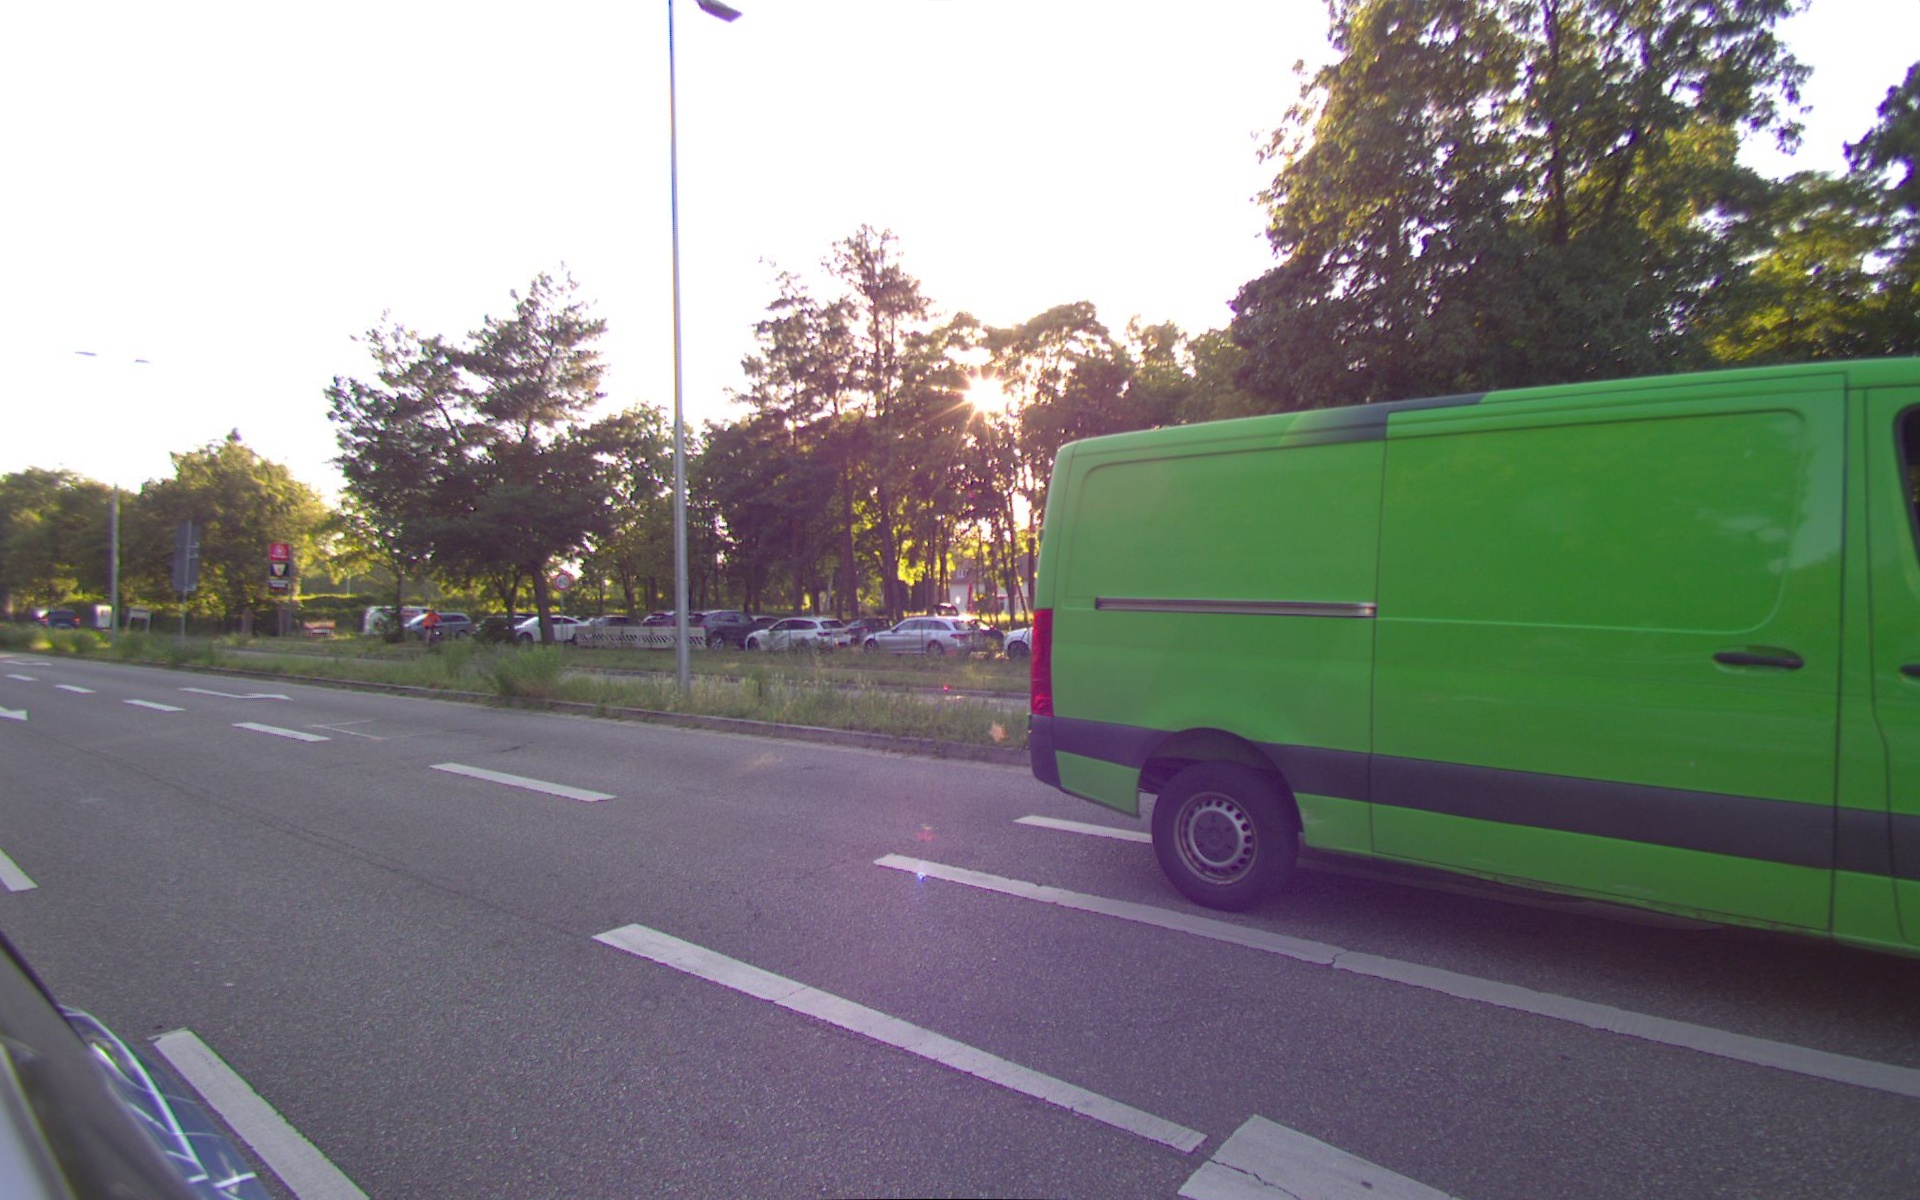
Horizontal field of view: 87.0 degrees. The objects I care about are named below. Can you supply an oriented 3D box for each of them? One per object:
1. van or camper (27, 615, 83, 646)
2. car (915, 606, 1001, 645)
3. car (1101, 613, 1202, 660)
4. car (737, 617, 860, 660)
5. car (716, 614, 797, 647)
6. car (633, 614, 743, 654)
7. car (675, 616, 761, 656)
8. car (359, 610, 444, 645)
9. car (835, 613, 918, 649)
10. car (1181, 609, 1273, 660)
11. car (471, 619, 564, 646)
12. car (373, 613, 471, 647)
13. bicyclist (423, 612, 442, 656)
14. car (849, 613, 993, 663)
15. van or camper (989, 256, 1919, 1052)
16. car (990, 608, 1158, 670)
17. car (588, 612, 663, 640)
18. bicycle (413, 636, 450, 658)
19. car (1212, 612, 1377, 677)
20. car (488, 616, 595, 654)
[{"bbox_3d":[-60.836,2.038,68.028,4.570,2.029,1.975,-1,-2,37],"label":"van or camper"},{"bbox_3d":[-0.046,1.125,44.871,1.765,1.663,3.947,-1,-2,39],"label":"car"},{"bbox_3d":[7.157,1.318,37.599,1.918,1.663,3.944,-1,-2,42],"label":"car"},{"bbox_3d":[-6.270,1.441,39.058,4.702,1.560,1.975,-1,-2,37],"label":"car"},{"bbox_3d":[-10.556,1.563,52.715,1.765,1.663,3.947,-1,-2,40],"label":"car"},{"bbox_3d":[-11.665,1.452,43.636,1.769,1.629,4.470,-1,-2,37],"label":"car"},{"bbox_3d":[-9.776,1.446,41.015,1.657,1.538,3.060,-1,-2,38],"label":"car"},{"bbox_3d":[-32.196,1.591,58.443,1.764,1.959,3.949,-1,-2,38],"label":"car"},{"bbox_3d":[-3.978,1.480,48.808,1.765,1.663,3.947,-1,-2,39],"label":"car"},{"bbox_3d":[9.332,1.176,35.195,1.914,1.663,3.954,-1,-2,34],"label":"car"},{"bbox_3d":[-22.331,1.624,51.172,1.731,1.322,3.947,-1,-2,39],"label":"car"},{"bbox_3d":[-29.932,1.676,56.408,1.907,1.811,4.443,-1,-2,38],"label":"car"},{"bbox_3d":[-22.517,1.452,43.177,0.616,1.888,0.454,-1,-2,34],"label":"bicyclist"},{"bbox_3d":[-1.414,1.302,35.351,4.913,1.619,1.975,-1,-2,37],"label":"car"},{"bbox_3d":[3.034,0.185,4.319,5.891,2.439,1.973,-1,-2,40],"label":"van or camper"},{"bbox_3d":[3.503,1.184,31.561,4.913,1.800,1.975,-1,-2,37],"label":"car"},{"bbox_3d":[-20.145,1.567,61.012,1.765,1.663,3.947,-1,-2,40],"label":"car"},{"bbox_3d":[-22.542,1.995,43.175,2.039,0.940,0.488,-1,-2,34],"label":"bicycle"},{"bbox_3d":[8.899,1.143,27.002,3.807,1.609,1.838,-1,-2,36],"label":"car"},{"bbox_3d":[-20.460,1.675,49.618,1.908,1.767,4.441,-1,-2,39],"label":"car"}]
